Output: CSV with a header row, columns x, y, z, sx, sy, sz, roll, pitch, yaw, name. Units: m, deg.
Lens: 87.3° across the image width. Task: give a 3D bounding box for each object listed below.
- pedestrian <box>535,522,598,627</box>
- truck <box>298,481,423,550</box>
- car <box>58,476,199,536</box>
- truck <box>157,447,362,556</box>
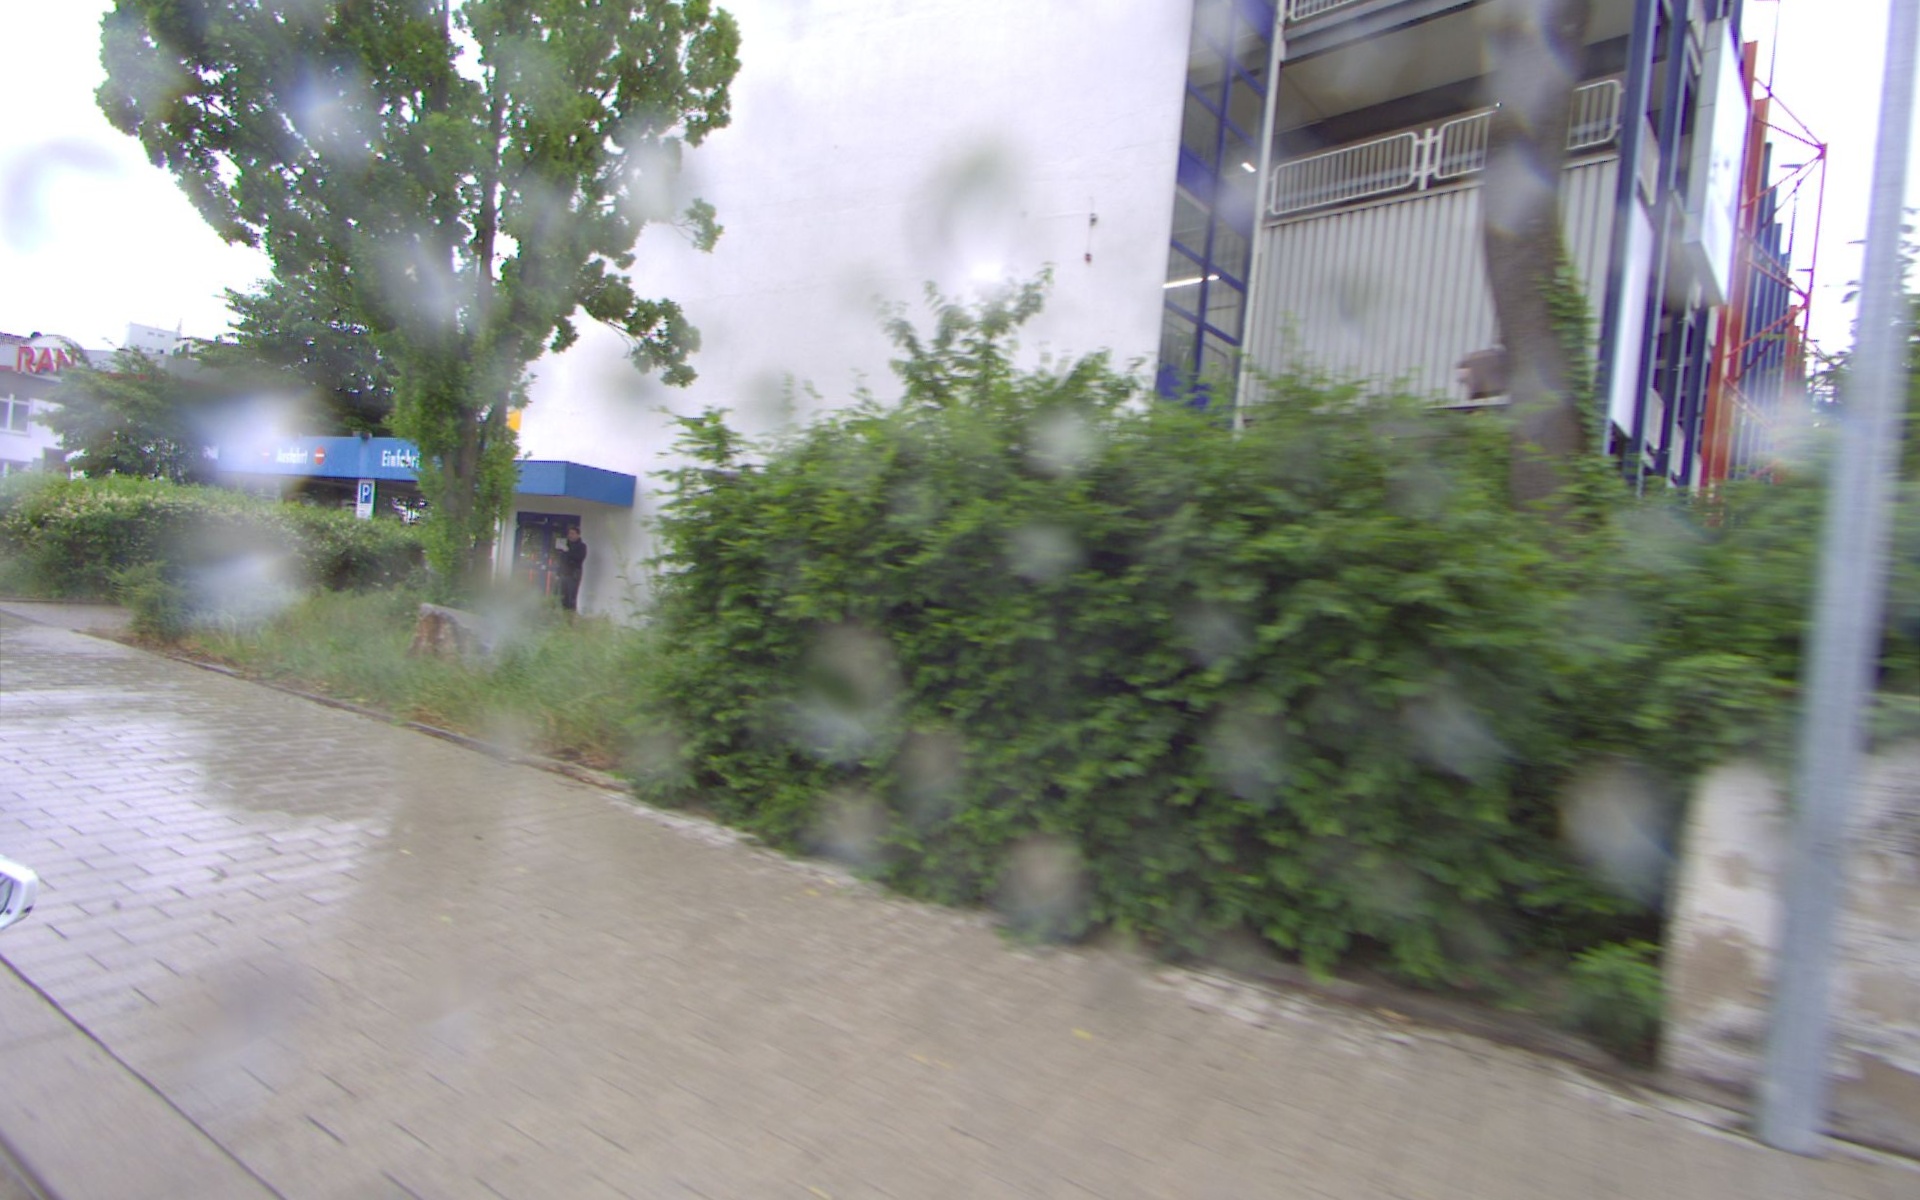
x,y,z,sx,sy,sz,roll,pitch,yaw,name
-7.341,-0.474,18.776,0.759,1.859,0.570,7,1,29,pedestrian
-22.606,-3.184,37.932,3.929,2.035,2.002,5,-4,26,truck
-31.186,-3.480,37.853,1.917,1.573,3.532,6,-2,12,car
-33.081,-4.518,47.983,2.629,3.480,7.763,6,-4,16,truck
